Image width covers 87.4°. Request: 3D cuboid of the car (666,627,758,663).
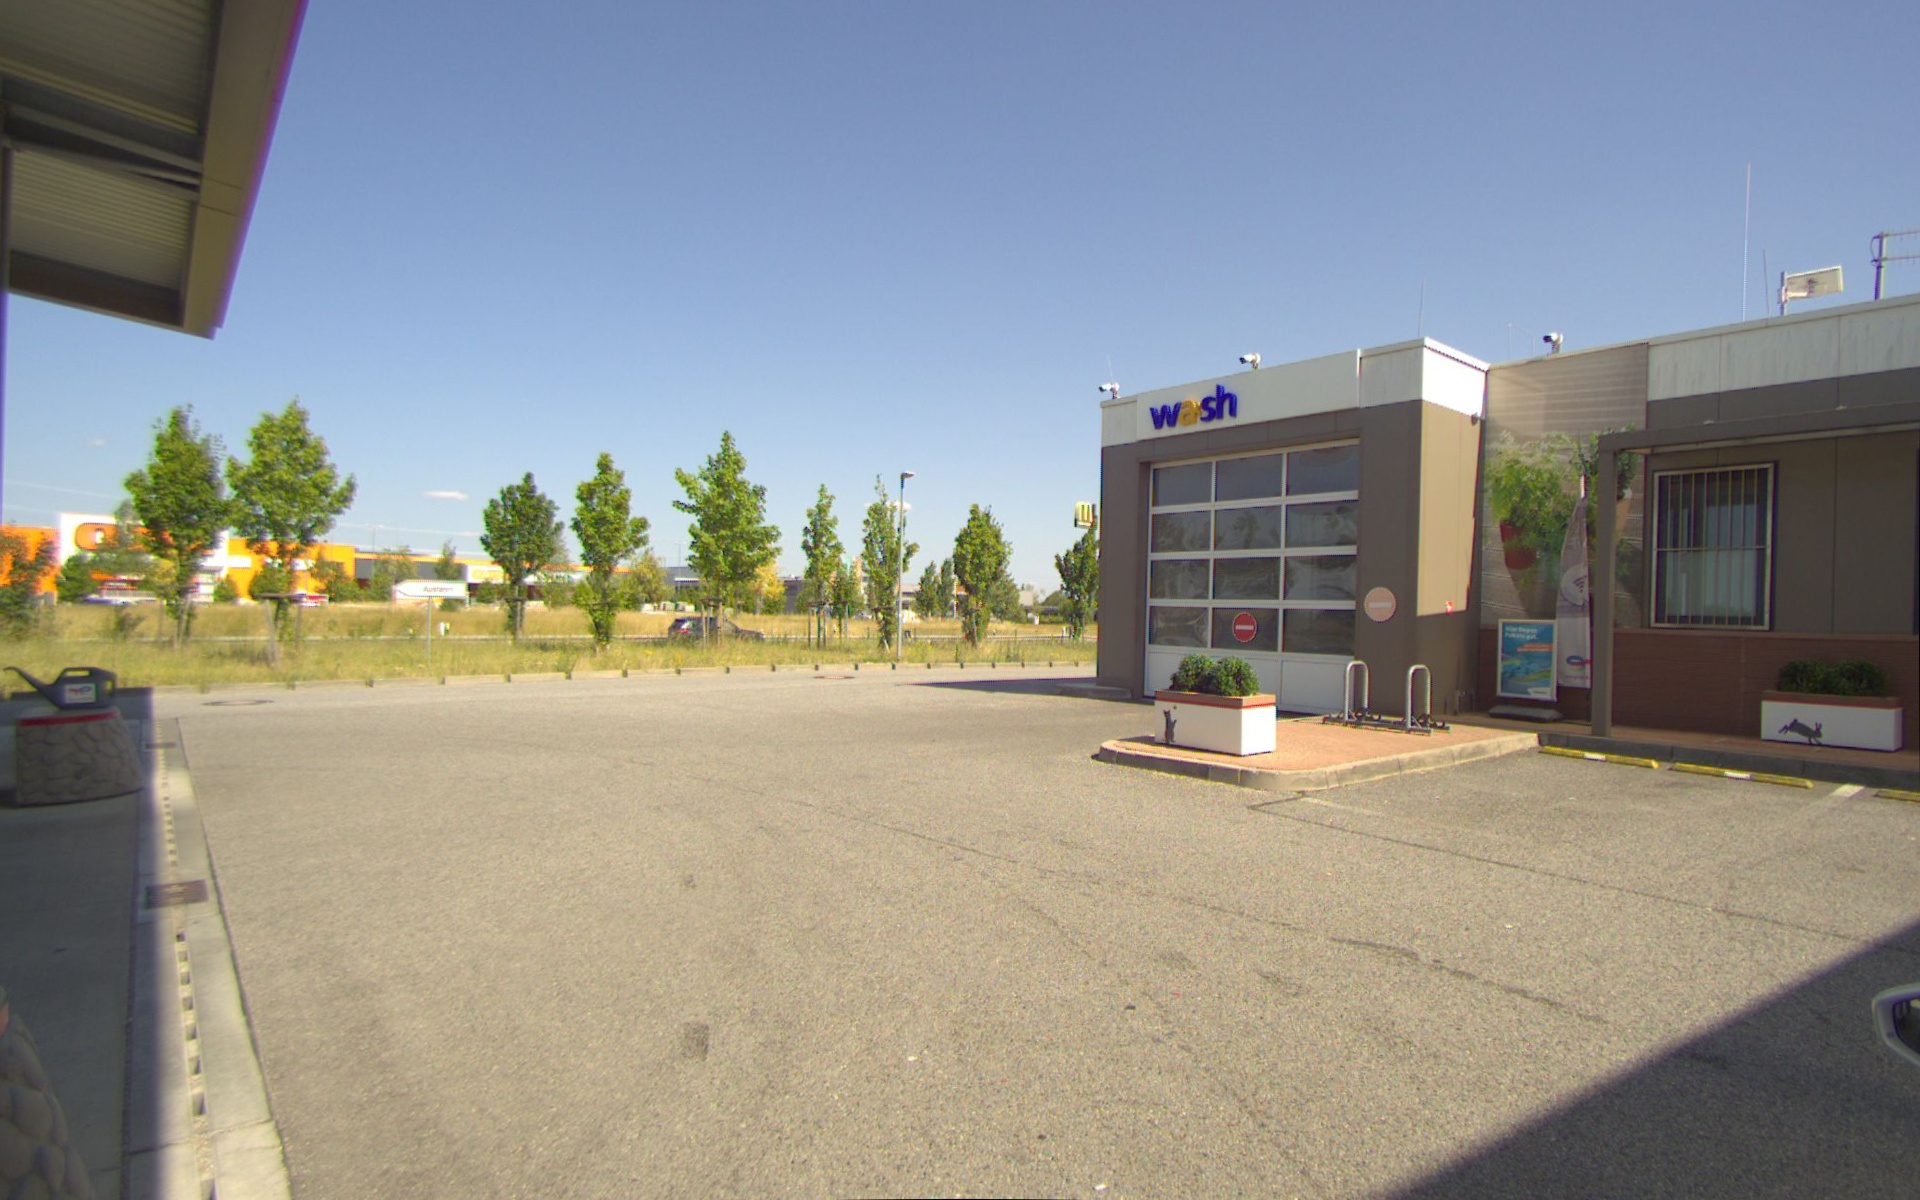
[{"bbox_3d":[-11.972,2.136,48.575,3.965,1.639,1.802,1,0,-39],"label":"car"}]
